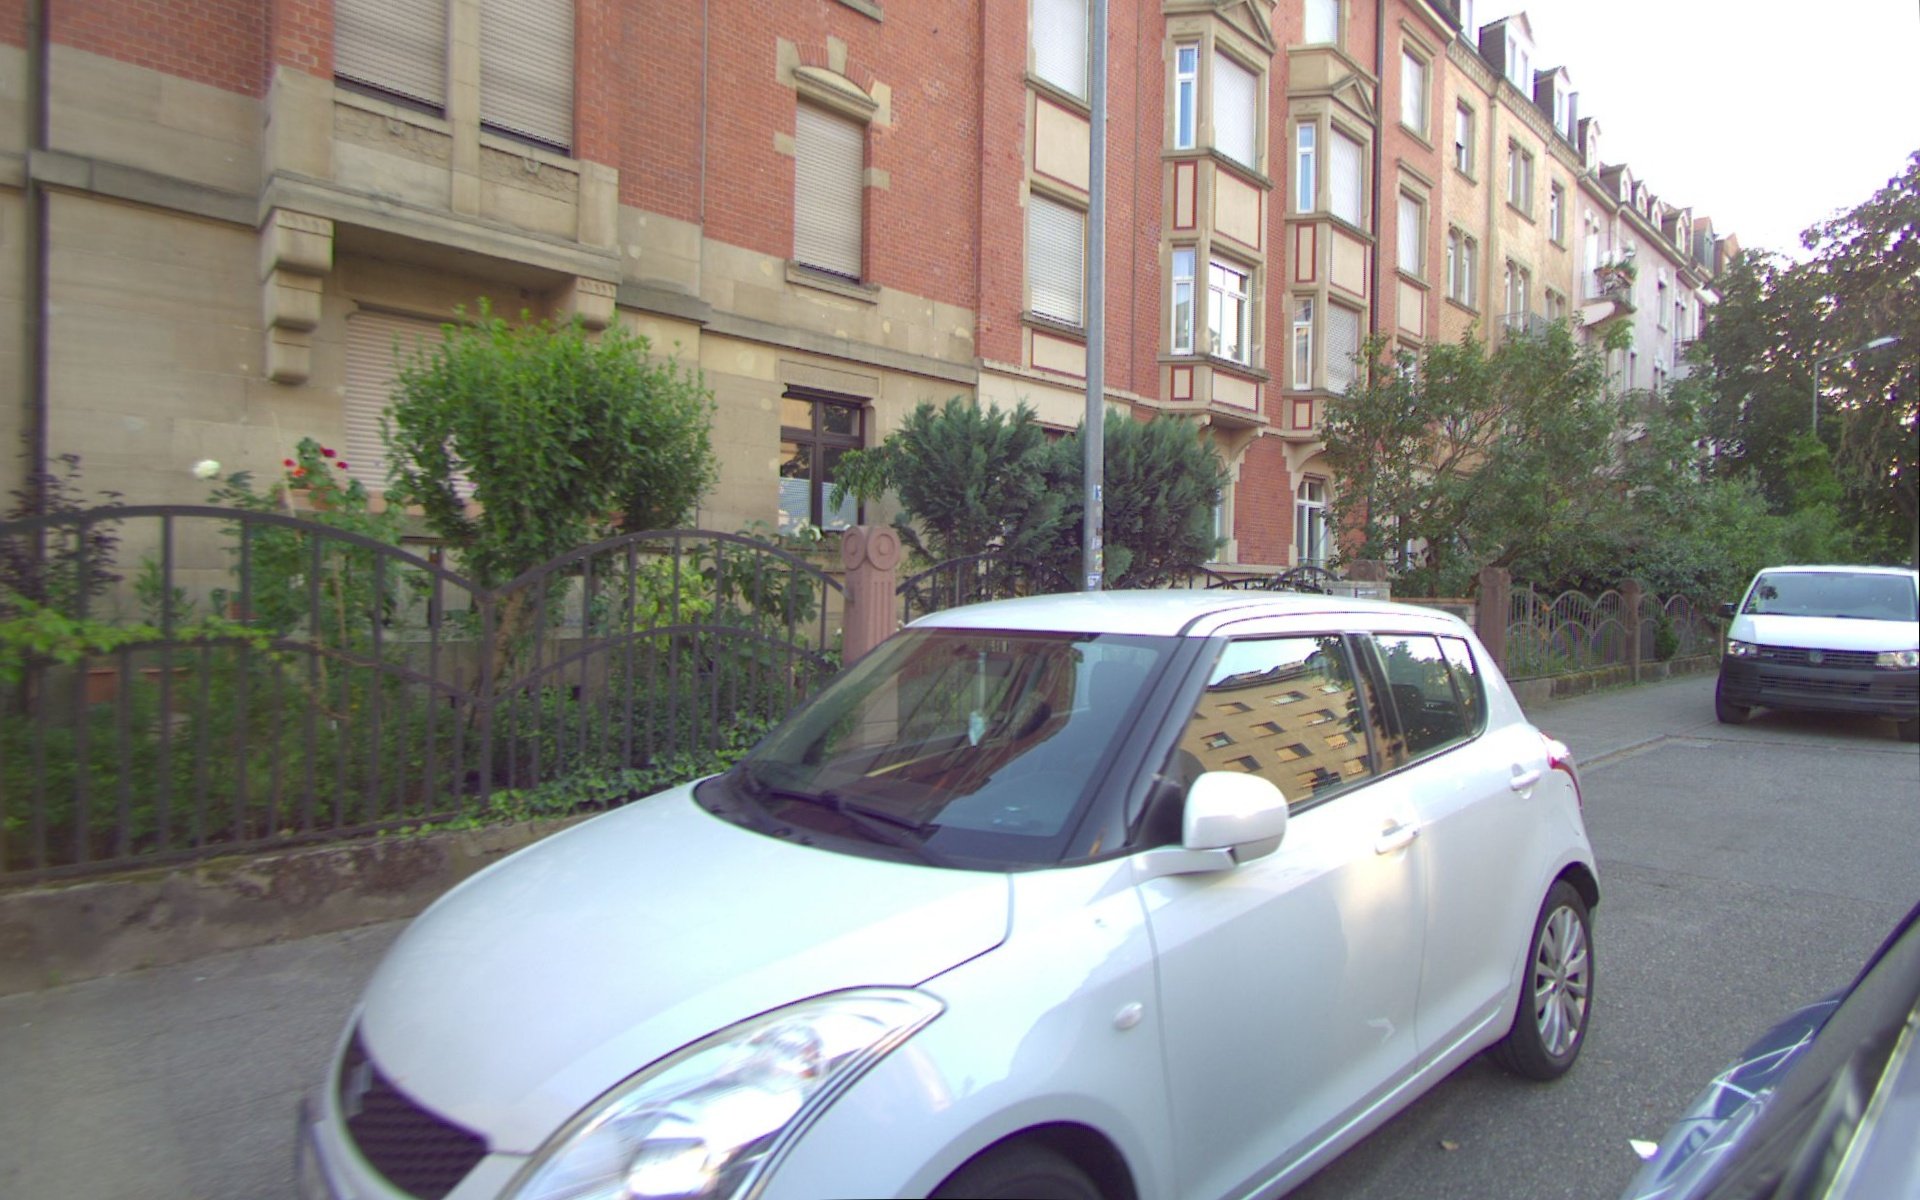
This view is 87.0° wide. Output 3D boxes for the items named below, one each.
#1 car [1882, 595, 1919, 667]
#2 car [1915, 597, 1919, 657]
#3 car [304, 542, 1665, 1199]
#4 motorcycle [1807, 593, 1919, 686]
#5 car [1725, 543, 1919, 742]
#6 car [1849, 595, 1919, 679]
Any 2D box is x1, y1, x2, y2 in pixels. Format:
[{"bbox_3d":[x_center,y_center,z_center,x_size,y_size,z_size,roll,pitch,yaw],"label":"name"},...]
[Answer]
[{"bbox_3d":[23.298,0.674,23.830,4.756,1.602,1.760,0,0,-40],"label":"car"},{"bbox_3d":[26.610,0.688,26.757,3.538,1.544,1.589,0,0,-40],"label":"car"},{"bbox_3d":[0.451,0.673,2.934,3.793,1.495,1.678,0,0,-40],"label":"car"},{"bbox_3d":[16.411,0.693,17.708,2.065,1.500,1.128,2,2,15],"label":"motorcycle"},{"bbox_3d":[11.554,0.408,12.978,5.452,2.064,1.864,0,3,-44],"label":"car"},{"bbox_3d":[19.450,0.688,20.387,4.249,1.570,1.723,0,0,-40],"label":"car"}]
